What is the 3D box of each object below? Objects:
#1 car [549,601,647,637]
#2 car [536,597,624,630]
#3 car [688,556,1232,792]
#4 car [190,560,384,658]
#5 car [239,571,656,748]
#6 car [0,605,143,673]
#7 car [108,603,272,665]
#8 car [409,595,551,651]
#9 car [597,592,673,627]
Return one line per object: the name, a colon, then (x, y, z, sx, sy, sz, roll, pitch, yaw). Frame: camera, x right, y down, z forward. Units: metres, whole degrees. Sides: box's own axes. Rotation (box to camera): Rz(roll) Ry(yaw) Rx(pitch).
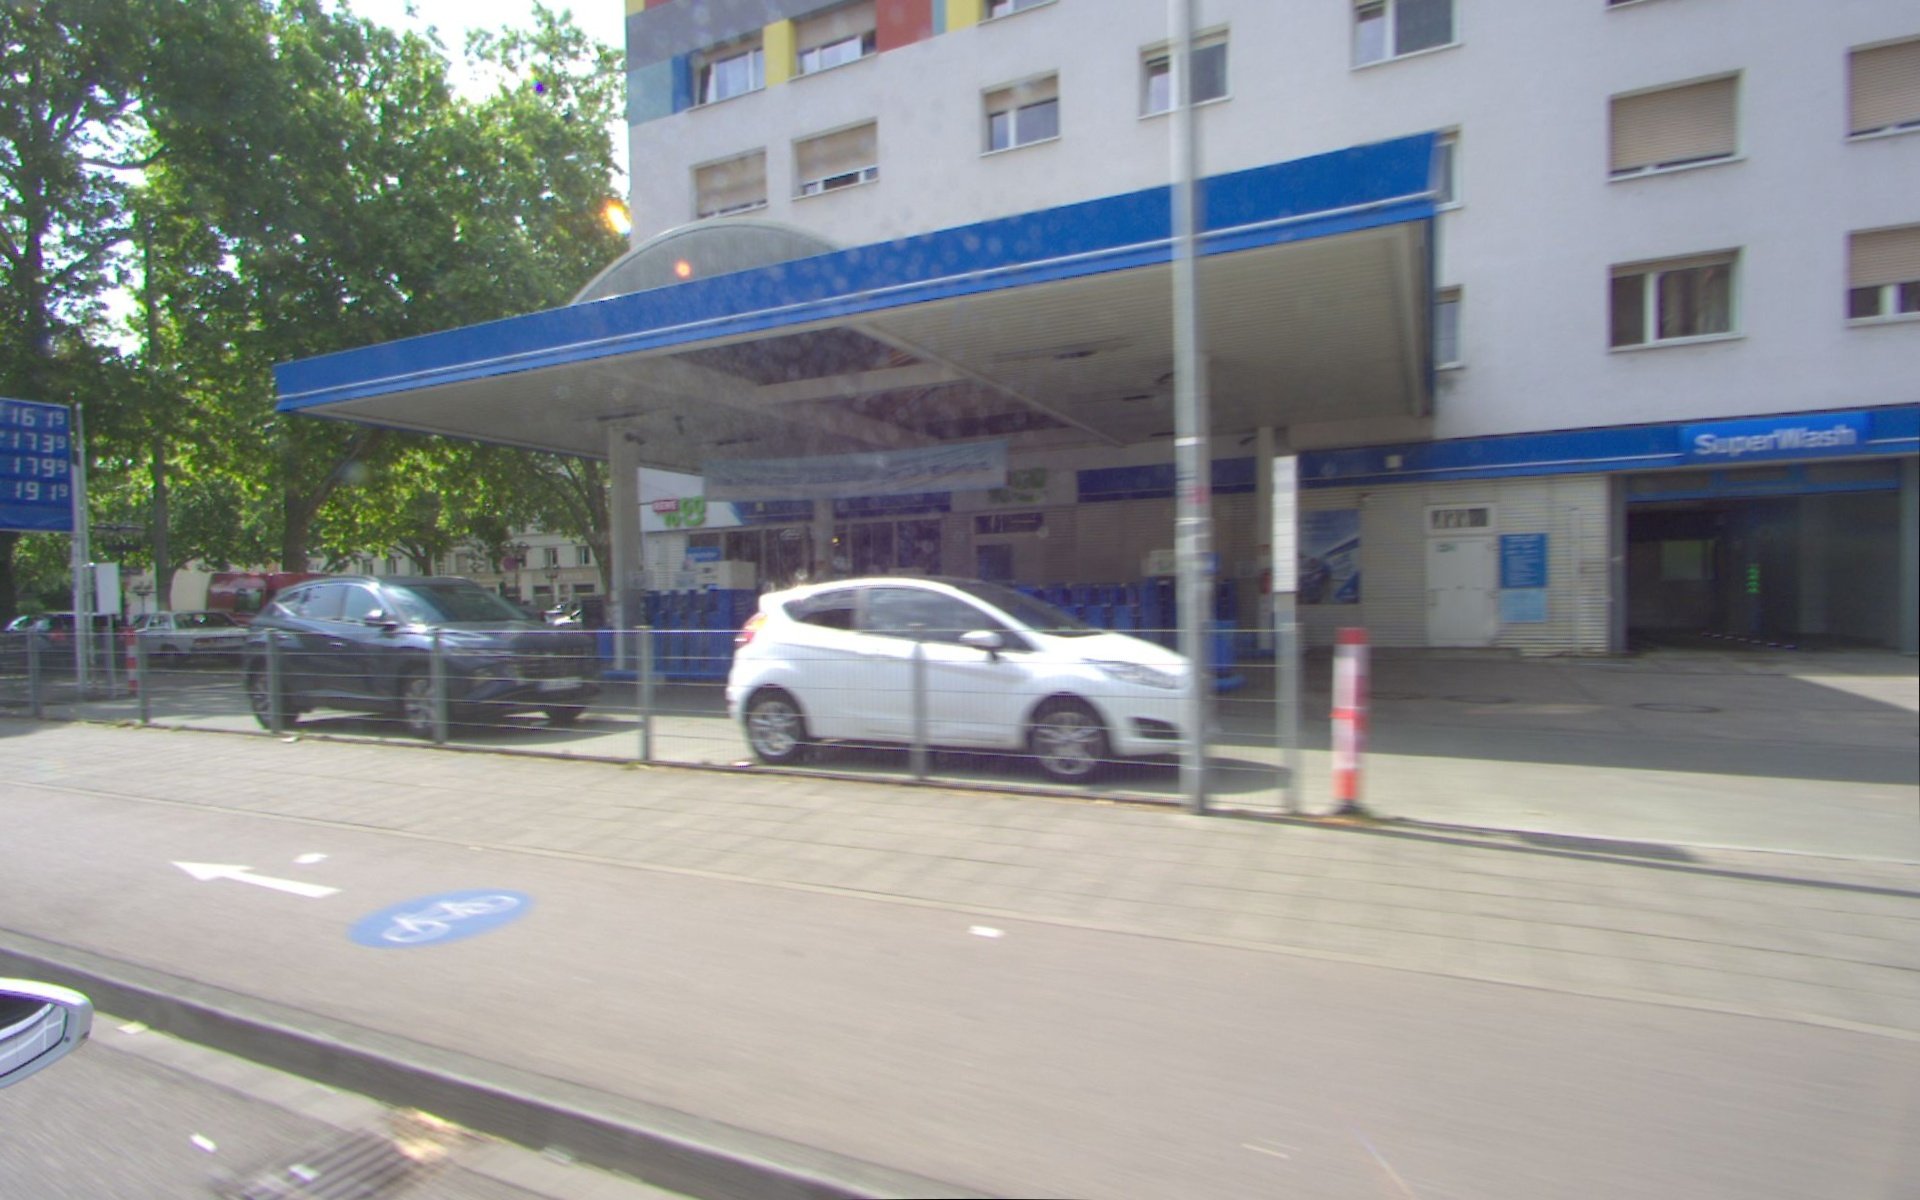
car: (-14.338, 0.759, 39.660, 3.582, 1.381, 1.580, -1, -1, 24)
car: (-20.146, 0.685, 53.212, 1.968, 1.658, 4.150, -1, 0, 26)
car: (-0.012, 0.490, 7.944, 3.937, 1.474, 1.805, -1, 0, 26)
car: (-19.541, 0.256, 29.008, 5.926, 2.617, 2.109, -1, 1, 28)
car: (-5.691, 0.575, 11.030, 4.510, 1.623, 1.804, -1, 0, 27)
car: (-21.606, 0.890, 23.936, 3.977, 1.490, 1.648, -1, 1, 26)
car: (-20.207, 0.873, 26.272, 3.975, 1.490, 1.649, -1, 1, 23)
car: (-16.199, 0.778, 33.763, 4.580, 1.777, 2.005, -1, -1, 28)
car: (-20.087, 0.558, 62.057, 2.044, 2.040, 4.251, -1, 0, 26)
